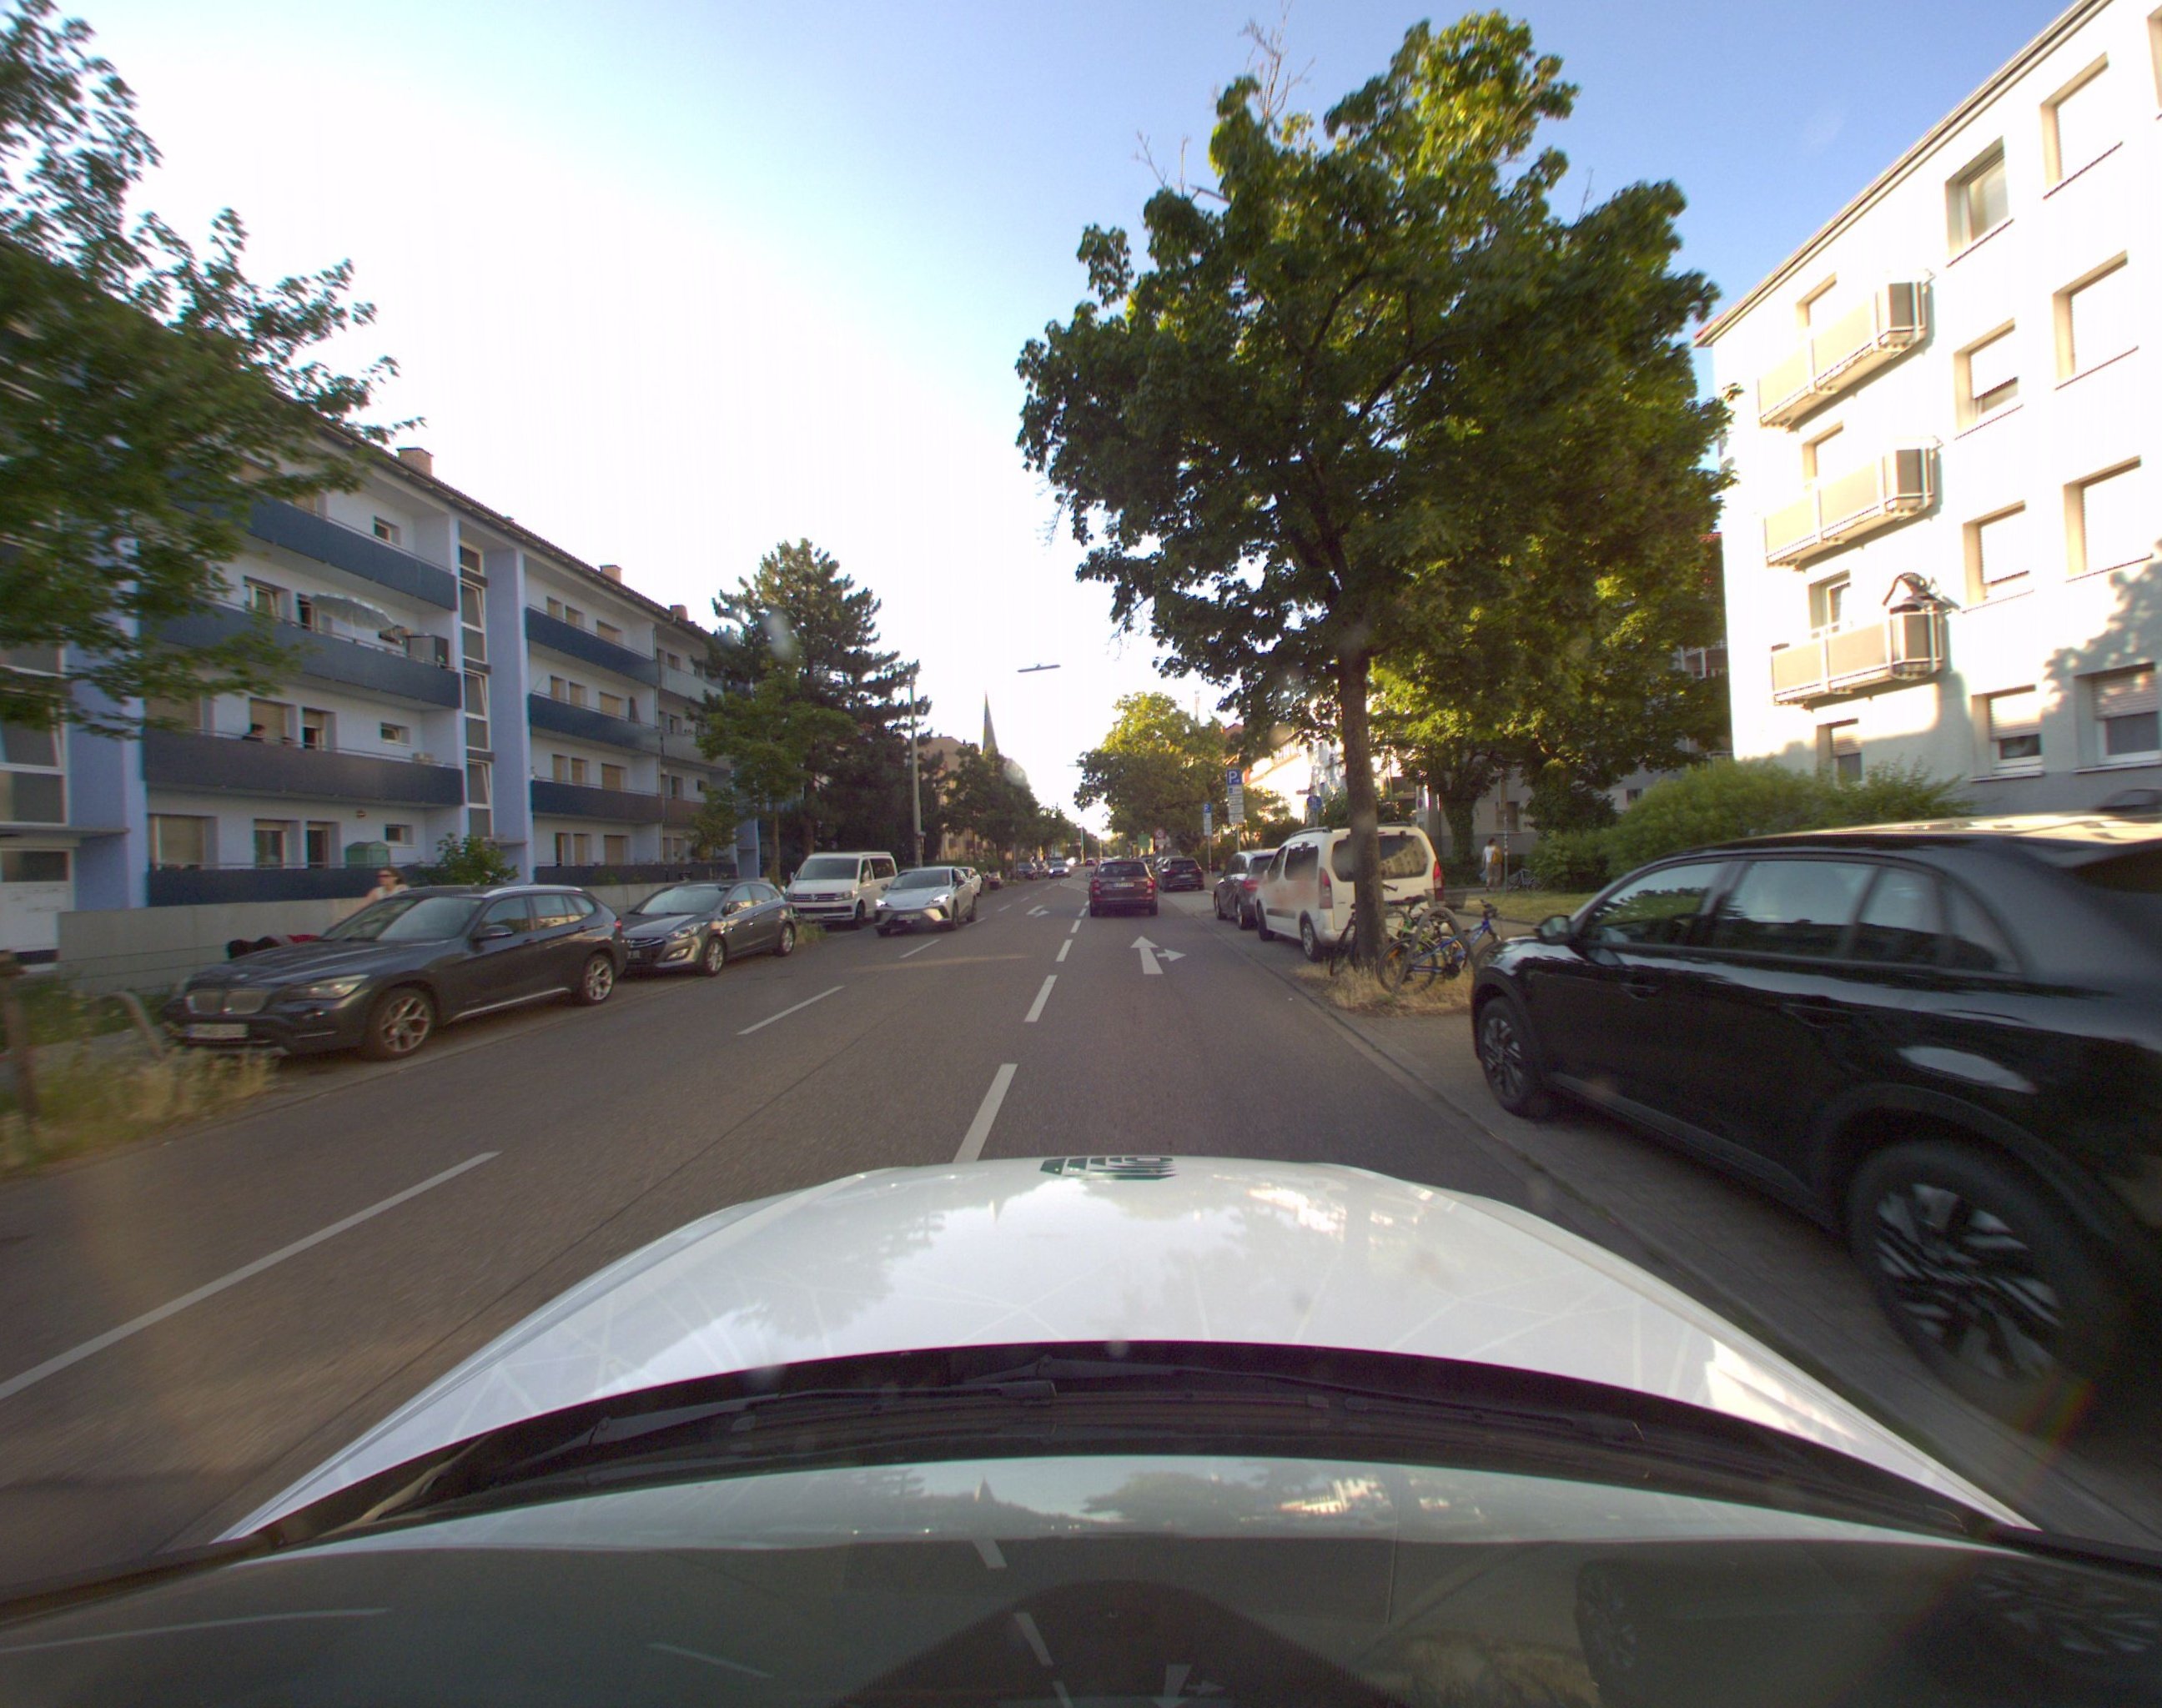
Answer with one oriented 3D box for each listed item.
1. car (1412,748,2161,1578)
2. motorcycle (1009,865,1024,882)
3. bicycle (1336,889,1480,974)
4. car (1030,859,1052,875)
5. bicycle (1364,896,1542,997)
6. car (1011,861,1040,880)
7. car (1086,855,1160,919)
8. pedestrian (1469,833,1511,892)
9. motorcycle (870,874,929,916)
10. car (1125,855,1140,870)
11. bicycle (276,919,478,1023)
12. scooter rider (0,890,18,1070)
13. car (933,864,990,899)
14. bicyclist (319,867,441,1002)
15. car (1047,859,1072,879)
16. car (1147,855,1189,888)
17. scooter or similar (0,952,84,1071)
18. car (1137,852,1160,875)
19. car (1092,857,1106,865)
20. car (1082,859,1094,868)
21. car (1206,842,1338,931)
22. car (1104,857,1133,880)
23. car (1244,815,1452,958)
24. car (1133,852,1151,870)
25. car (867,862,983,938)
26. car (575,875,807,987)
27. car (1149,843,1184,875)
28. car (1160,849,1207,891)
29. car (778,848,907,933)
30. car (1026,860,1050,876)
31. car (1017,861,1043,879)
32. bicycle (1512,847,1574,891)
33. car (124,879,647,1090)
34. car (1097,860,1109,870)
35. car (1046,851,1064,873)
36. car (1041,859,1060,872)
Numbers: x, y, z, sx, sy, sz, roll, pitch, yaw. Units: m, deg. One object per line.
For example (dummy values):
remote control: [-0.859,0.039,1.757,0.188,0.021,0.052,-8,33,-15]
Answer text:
car: [3.127,0.573,3.602,1.746,1.662,4.256,-4,0,4]
motorcycle: [-4.786,1.400,60.249,0.736,1.204,2.144,-1,0,5]
bicycle: [3.844,0.895,9.601,1.551,0.869,0.392,-3,-1,-7]
car: [-4.087,1.336,84.429,1.773,1.480,3.975,-1,0,4]
bicycle: [3.640,0.898,8.009,1.548,0.869,0.393,-3,-1,-2]
car: [-4.503,1.312,66.208,1.773,1.480,4.038,-1,0,4]
car: [1.153,0.802,21.605,1.746,1.492,4.004,-1,0,4]
pedestrian: [12.387,0.268,24.664,0.748,1.721,0.792,-3,-1,-39]
motorcycle: [-6.142,1.372,27.723,0.653,1.204,2.345,-4,0,23]
car: [6.279,1.073,100.479,1.747,1.806,4.003,-1,0,3]
bicycle: [-8.828,1.426,10.341,0.617,1.014,1.957,-3,0,10]
scooter rider: [-10.115,1.163,7.278,0.461,1.630,0.535,-3,-1,6]
car: [-5.565,1.250,38.350,1.773,1.494,3.975,-1,0,4]
bicyclist: [-8.859,0.983,10.327,0.600,1.593,0.942,-3,0,9]
car: [-1.822,1.246,70.457,1.733,1.479,4.311,-6,0,2]
car: [4.414,0.857,41.641,1.748,1.557,4.105,-1,0,1]
scooter or similar: [-10.097,1.481,7.203,0.461,1.014,1.592,-3,0,6]
car: [5.255,0.743,63.990,1.746,1.715,4.004,-1,0,4]
car: [4.036,1.568,183.542,1.998,1.750,3.978,-3,0,-16]
car: [1.422,1.883,160.784,1.989,1.750,3.995,-3,0,-3]
car: [3.936,0.614,17.533,1.749,1.556,4.251,-4,0,0]
car: [2.532,0.979,55.118,1.885,1.506,3.791,1,-1,2]
car: [3.906,0.429,12.774,1.794,1.808,4.423,-1,0,0]
car: [6.267,0.717,83.438,1.746,1.806,4.004,-1,0,4]
car: [-3.658,1.031,19.792,1.774,1.494,3.973,-4,0,3]
car: [-6.453,1.189,14.066,1.685,1.483,4.148,-3,0,4]
car: [5.393,0.325,52.034,1.908,1.860,5.638,-3,0,4]
car: [4.426,0.676,35.676,1.746,1.686,4.256,-1,0,4]
car: [-6.469,0.915,22.787,1.862,2.031,5.302,-2,0,1]
car: [-4.160,1.361,78.728,1.773,1.480,3.975,-1,0,4]
car: [-4.510,1.402,72.292,1.773,1.480,3.975,-1,0,4]
bicycle: [10.775,0.340,19.048,0.473,0.944,1.681,-3,0,2]
car: [-6.975,1.158,8.986,1.665,1.543,4.478,-3,0,4]
car: [3.534,1.813,133.107,1.776,1.480,3.969,-1,0,-1]
car: [-3.377,0.995,107.469,1.984,2.781,5.505,-1,0,1]
car: [-3.508,1.352,94.894,1.773,1.480,3.975,-1,0,4]
